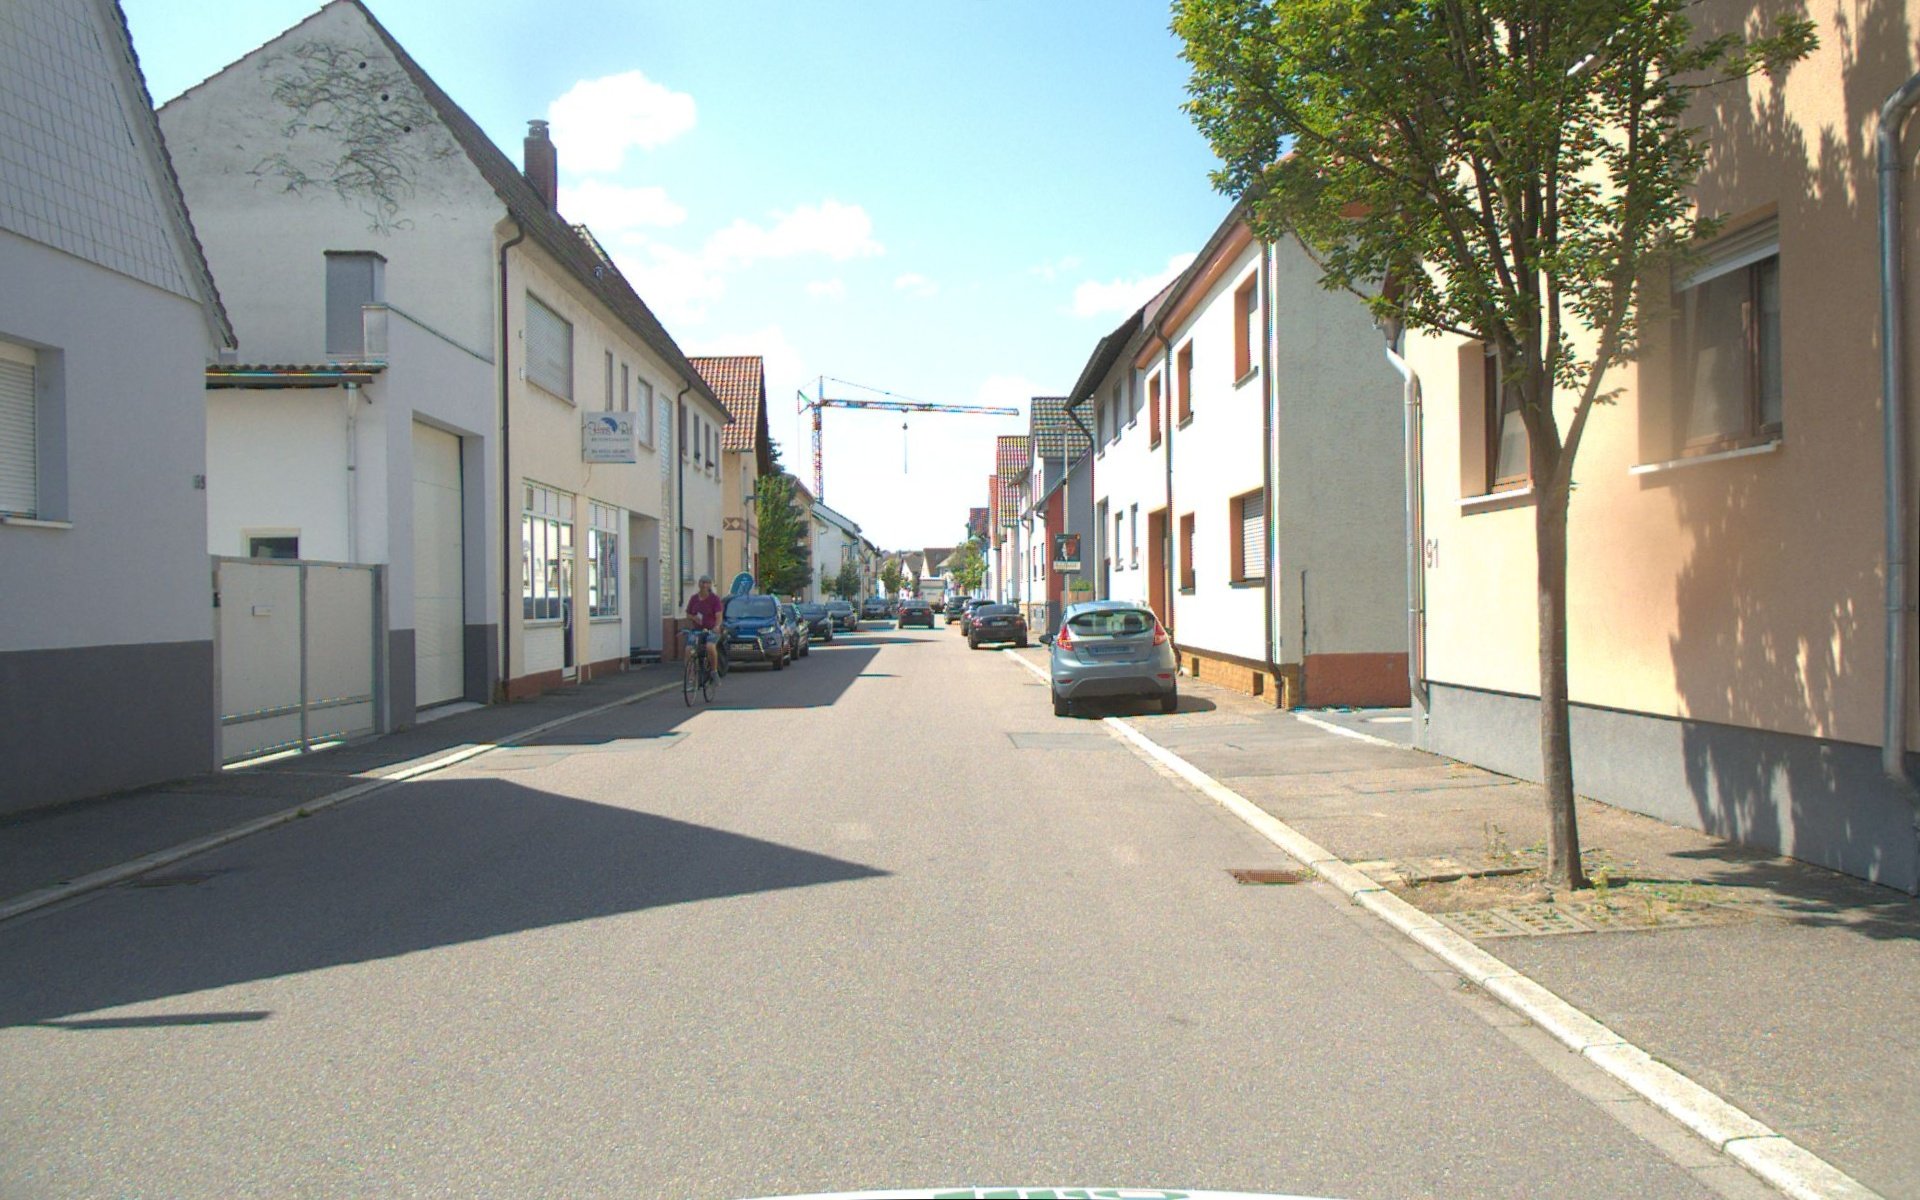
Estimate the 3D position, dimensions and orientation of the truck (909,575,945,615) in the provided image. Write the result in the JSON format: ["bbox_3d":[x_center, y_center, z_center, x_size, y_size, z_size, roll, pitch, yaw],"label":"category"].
[{"bbox_3d":[-3.549,-0.495,174.825,3.311,3.933,13.918,-2,0,-3],"label":"truck"}]

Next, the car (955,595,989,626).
[{"bbox_3d":[0.622,0.529,87.993,1.584,1.521,3.970,-3,0,-2],"label":"car"}]

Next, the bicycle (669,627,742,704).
[{"bbox_3d":[-3.747,0.949,24.474,0.727,1.066,1.940,0,0,2],"label":"bicycle"}]

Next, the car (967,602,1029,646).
[{"bbox_3d":[1.155,0.722,51.477,1.779,1.298,4.146,-1,0,-1],"label":"car"}]

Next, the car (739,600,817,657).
[{"bbox_3d":[-4.836,0.722,44.376,1.663,1.436,4.389,0,0,-1],"label":"car"}]

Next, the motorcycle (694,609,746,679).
[{"bbox_3d":[-4.767,0.853,32.992,0.792,1.335,2.105,-1,0,-2],"label":"motorcycle"}]

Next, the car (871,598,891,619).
[{"bbox_3d":[-6.624,0.710,139.421,1.620,1.637,4.059,-1,0,-2],"label":"car"}]

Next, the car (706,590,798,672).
[{"bbox_3d":[-4.661,0.662,37.535,1.683,1.668,4.147,-2,0,-3],"label":"car"}]

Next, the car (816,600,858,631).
[{"bbox_3d":[-6.142,0.760,82.811,1.732,1.485,4.436,-1,0,0],"label":"car"}]

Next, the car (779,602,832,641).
[{"bbox_3d":[-5.750,0.768,61.862,1.726,1.398,4.065,0,0,-2],"label":"car"}]

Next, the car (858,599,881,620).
[{"bbox_3d":[-7.242,0.747,132.226,1.723,1.551,4.287,-1,0,-2],"label":"car"}]

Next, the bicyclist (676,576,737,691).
[{"bbox_3d":[-3.748,0.487,24.542,0.731,1.665,0.956,0,0,2],"label":"bicyclist"}]

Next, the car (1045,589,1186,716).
[{"bbox_3d":[2.088,0.669,23.089,1.686,1.507,3.751,-4,0,3],"label":"car"}]

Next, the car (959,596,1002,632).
[{"bbox_3d":[0.830,0.561,68.564,1.654,1.447,3.656,-1,0,-1],"label":"car"}]

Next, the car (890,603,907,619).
[{"bbox_3d":[-6.620,1.175,178.681,1.688,1.583,4.171,0,0,-1],"label":"car"}]

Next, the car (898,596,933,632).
[{"bbox_3d":[-2.308,0.720,85.127,1.747,1.784,3.998,-2,0,-2],"label":"car"}]

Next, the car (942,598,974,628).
[{"bbox_3d":[-0.162,0.796,100.409,1.694,1.747,4.273,-1,0,-3],"label":"car"}]
